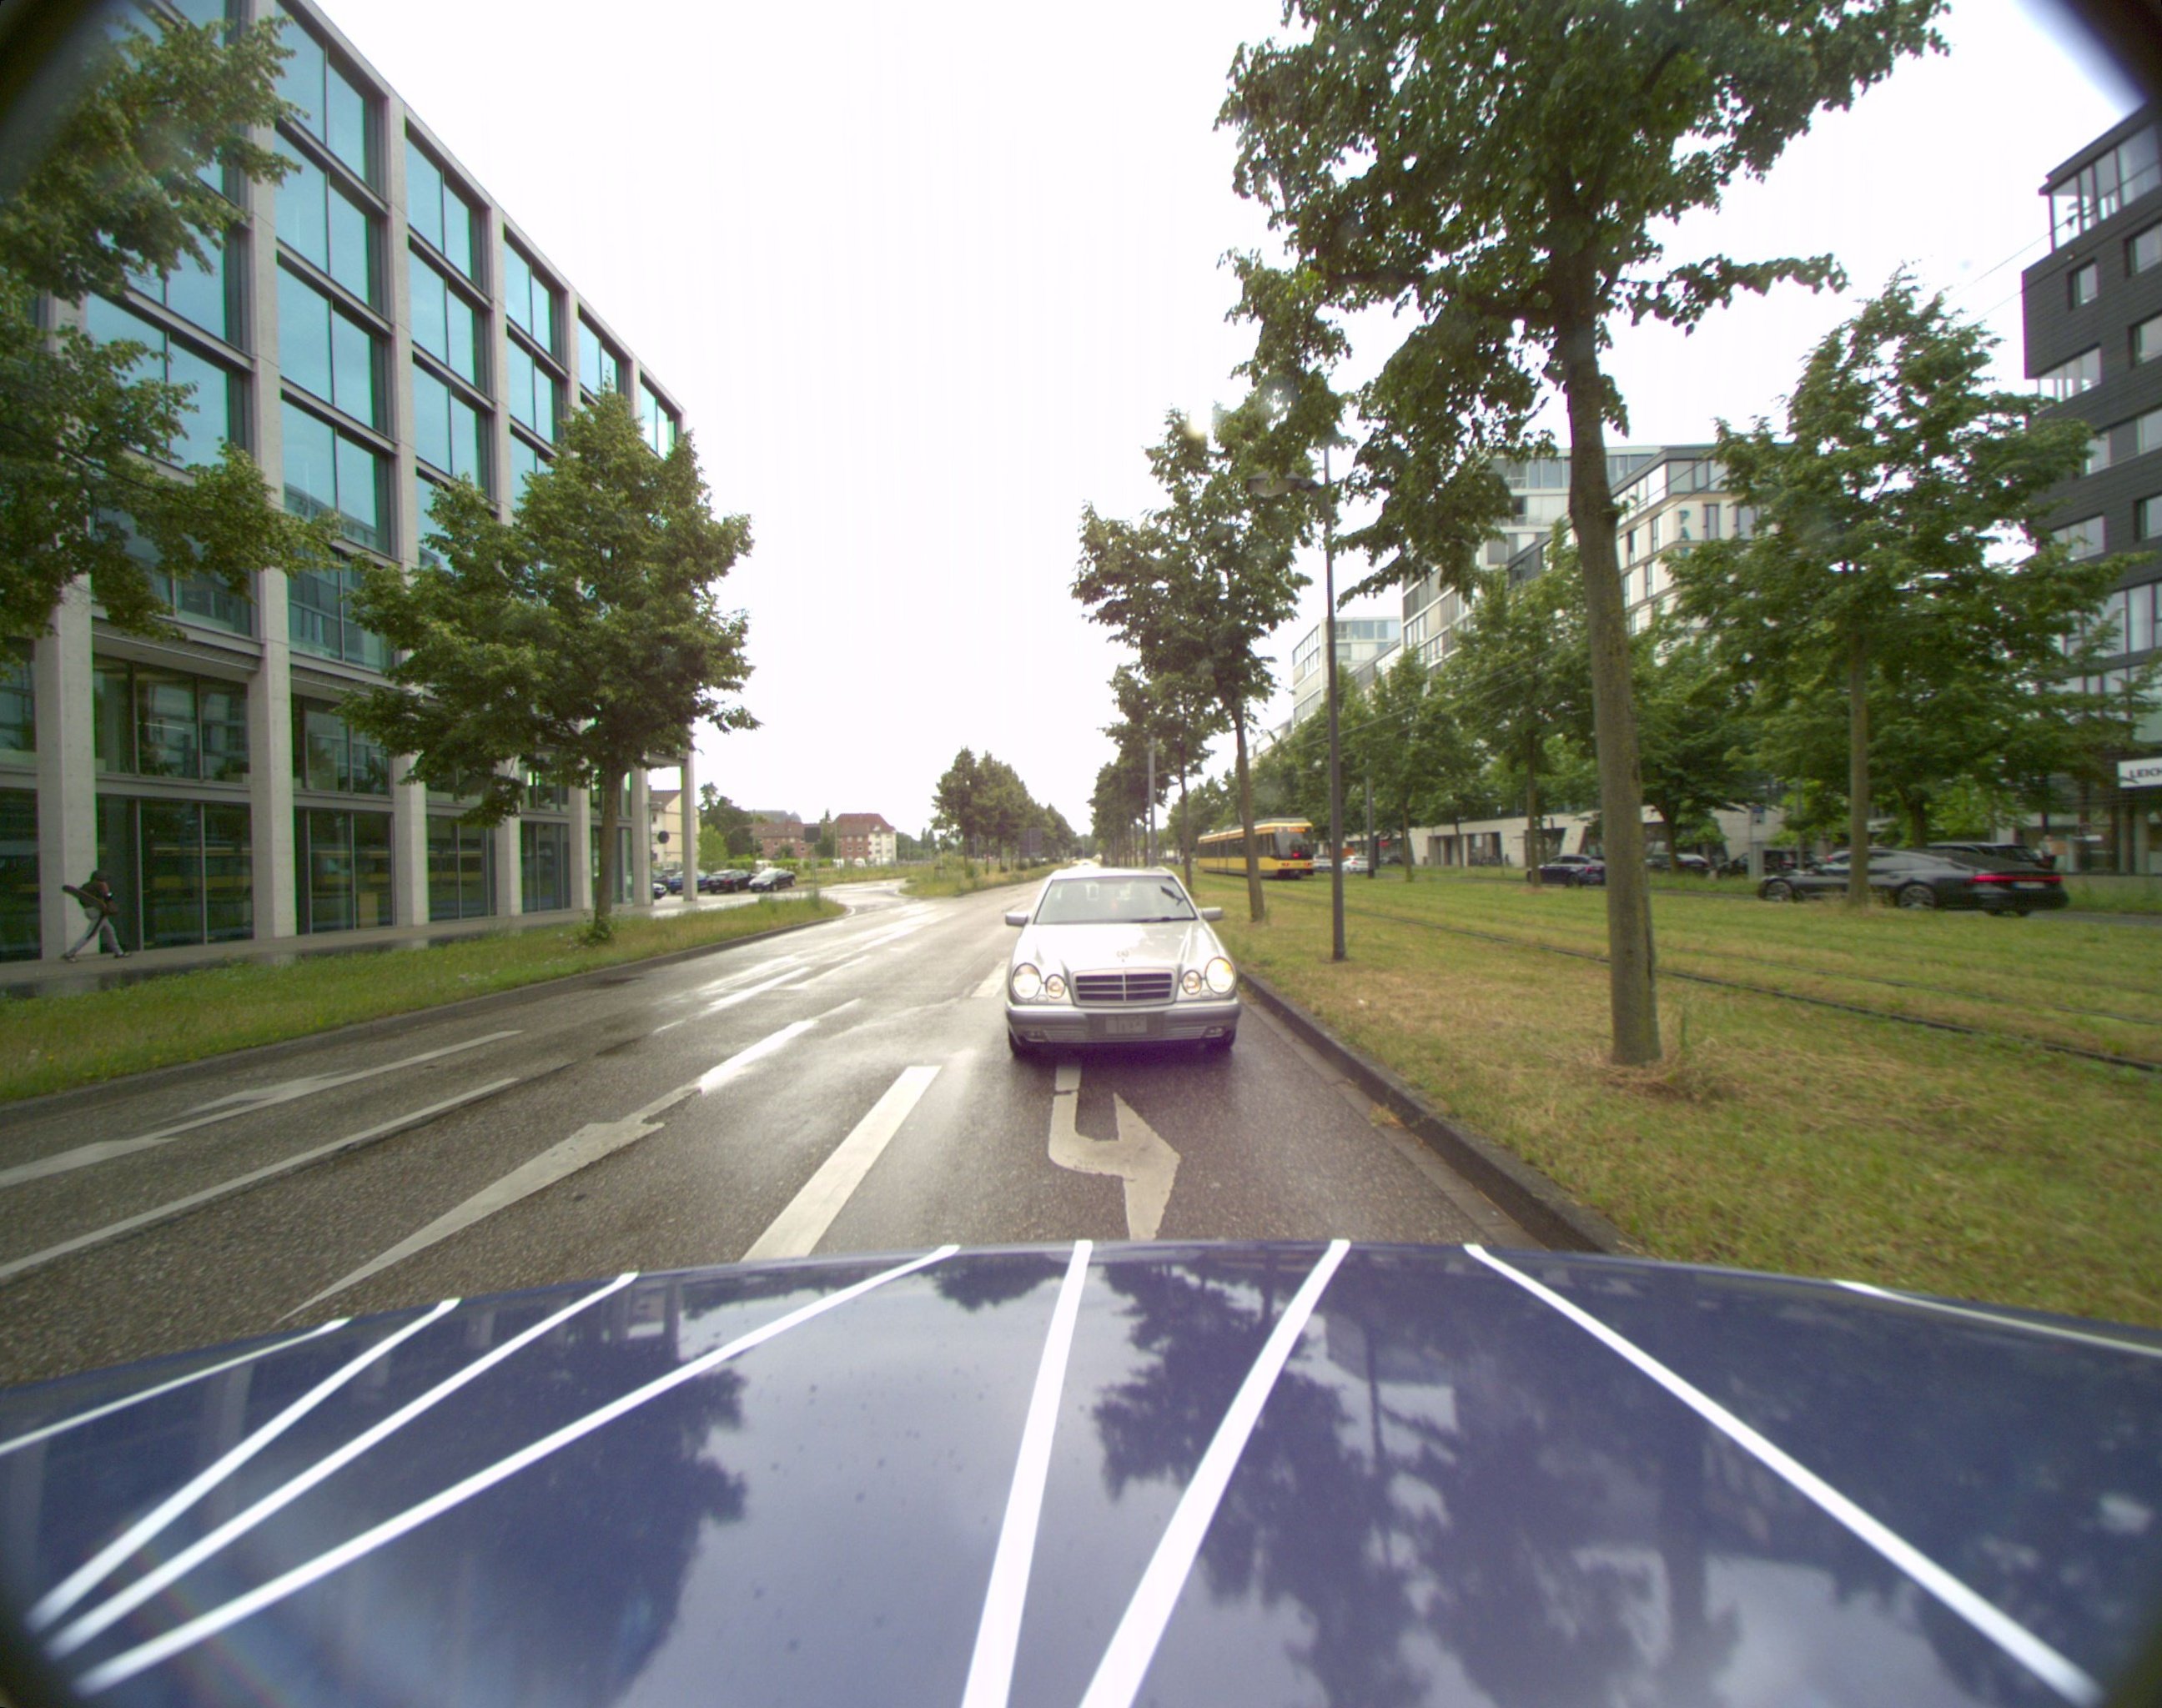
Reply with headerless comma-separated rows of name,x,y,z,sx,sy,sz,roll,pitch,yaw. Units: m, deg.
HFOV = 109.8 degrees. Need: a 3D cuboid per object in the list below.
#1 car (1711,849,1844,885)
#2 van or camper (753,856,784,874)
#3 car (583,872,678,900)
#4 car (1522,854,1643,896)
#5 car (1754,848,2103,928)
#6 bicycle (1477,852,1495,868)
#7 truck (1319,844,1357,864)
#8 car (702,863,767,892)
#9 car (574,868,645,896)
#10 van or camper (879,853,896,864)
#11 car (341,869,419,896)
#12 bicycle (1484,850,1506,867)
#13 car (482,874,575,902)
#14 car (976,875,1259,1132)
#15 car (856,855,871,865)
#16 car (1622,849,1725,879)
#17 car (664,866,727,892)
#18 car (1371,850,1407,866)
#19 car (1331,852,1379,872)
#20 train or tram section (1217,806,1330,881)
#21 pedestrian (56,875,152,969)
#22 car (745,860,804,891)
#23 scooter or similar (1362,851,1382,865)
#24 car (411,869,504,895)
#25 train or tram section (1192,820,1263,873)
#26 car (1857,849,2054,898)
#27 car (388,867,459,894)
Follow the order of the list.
car,29.259,0.519,32.117,1.998,1.370,4.000,-2,0,1
van or camper,-48.858,1.712,119.017,2.314,2.673,6.396,-1,0,-1
car,-25.302,1.795,42.709,4.227,1.429,1.982,-2,-2,6
car,20.345,0.803,31.125,1.998,1.512,4.874,-2,0,4
car,17.493,0.613,16.179,1.998,1.372,4.872,-2,0,1
bicycle,39.429,0.614,73.942,1.435,1.474,0.546,-2,1,0
truck,31.015,0.004,91.948,2.432,2.278,6.309,-1,0,1
car,-23.495,1.539,51.712,1.859,1.447,4.555,-2,5,6
car,-32.341,1.880,52.266,1.789,1.467,4.229,-2,4,6
van or camper,-44.025,1.034,173.046,2.208,2.294,6.147,-3,0,-1
car,-51.304,2.071,55.721,1.860,1.488,4.029,-2,4,-1
bicycle,39.295,0.395,72.128,1.707,1.529,0.681,-2,1,0
car,-31.318,1.928,43.146,3.995,1.479,1.862,-1,-2,5
car,0.247,1.006,7.090,1.738,1.451,4.607,-2,0,0
car,-50.564,1.358,177.029,2.278,2.207,4.759,-2,0,-3
car,29.389,0.473,37.863,1.998,1.370,4.000,-2,0,1
car,-26.449,1.677,52.259,1.859,1.447,4.000,-2,3,6
car,29.870,0.392,73.789,1.859,1.456,3.988,-1,0,0
car,21.482,0.600,59.786,1.999,1.512,4.872,-2,0,0
train or tram section,11.022,-0.519,45.683,3.136,3.637,15.064,-2,0,1
pedestrian,-18.604,1.268,14.494,0.718,1.705,0.861,0,0,0
car,-20.689,1.426,51.463,1.858,1.573,3.999,-2,5,8
scooter or similar,37.655,0.507,98.299,2.130,1.814,0.885,-2,0,-3
car,-35.845,1.597,43.713,3.995,1.364,1.862,-2,-1,6
train or tram section,11.263,-0.538,59.933,3.136,3.637,13.406,-2,0,1
car,28.962,0.592,25.398,1.706,1.441,4.241,-2,0,1
car,-52.469,2.069,60.721,1.699,1.703,4.032,-1,4,9
